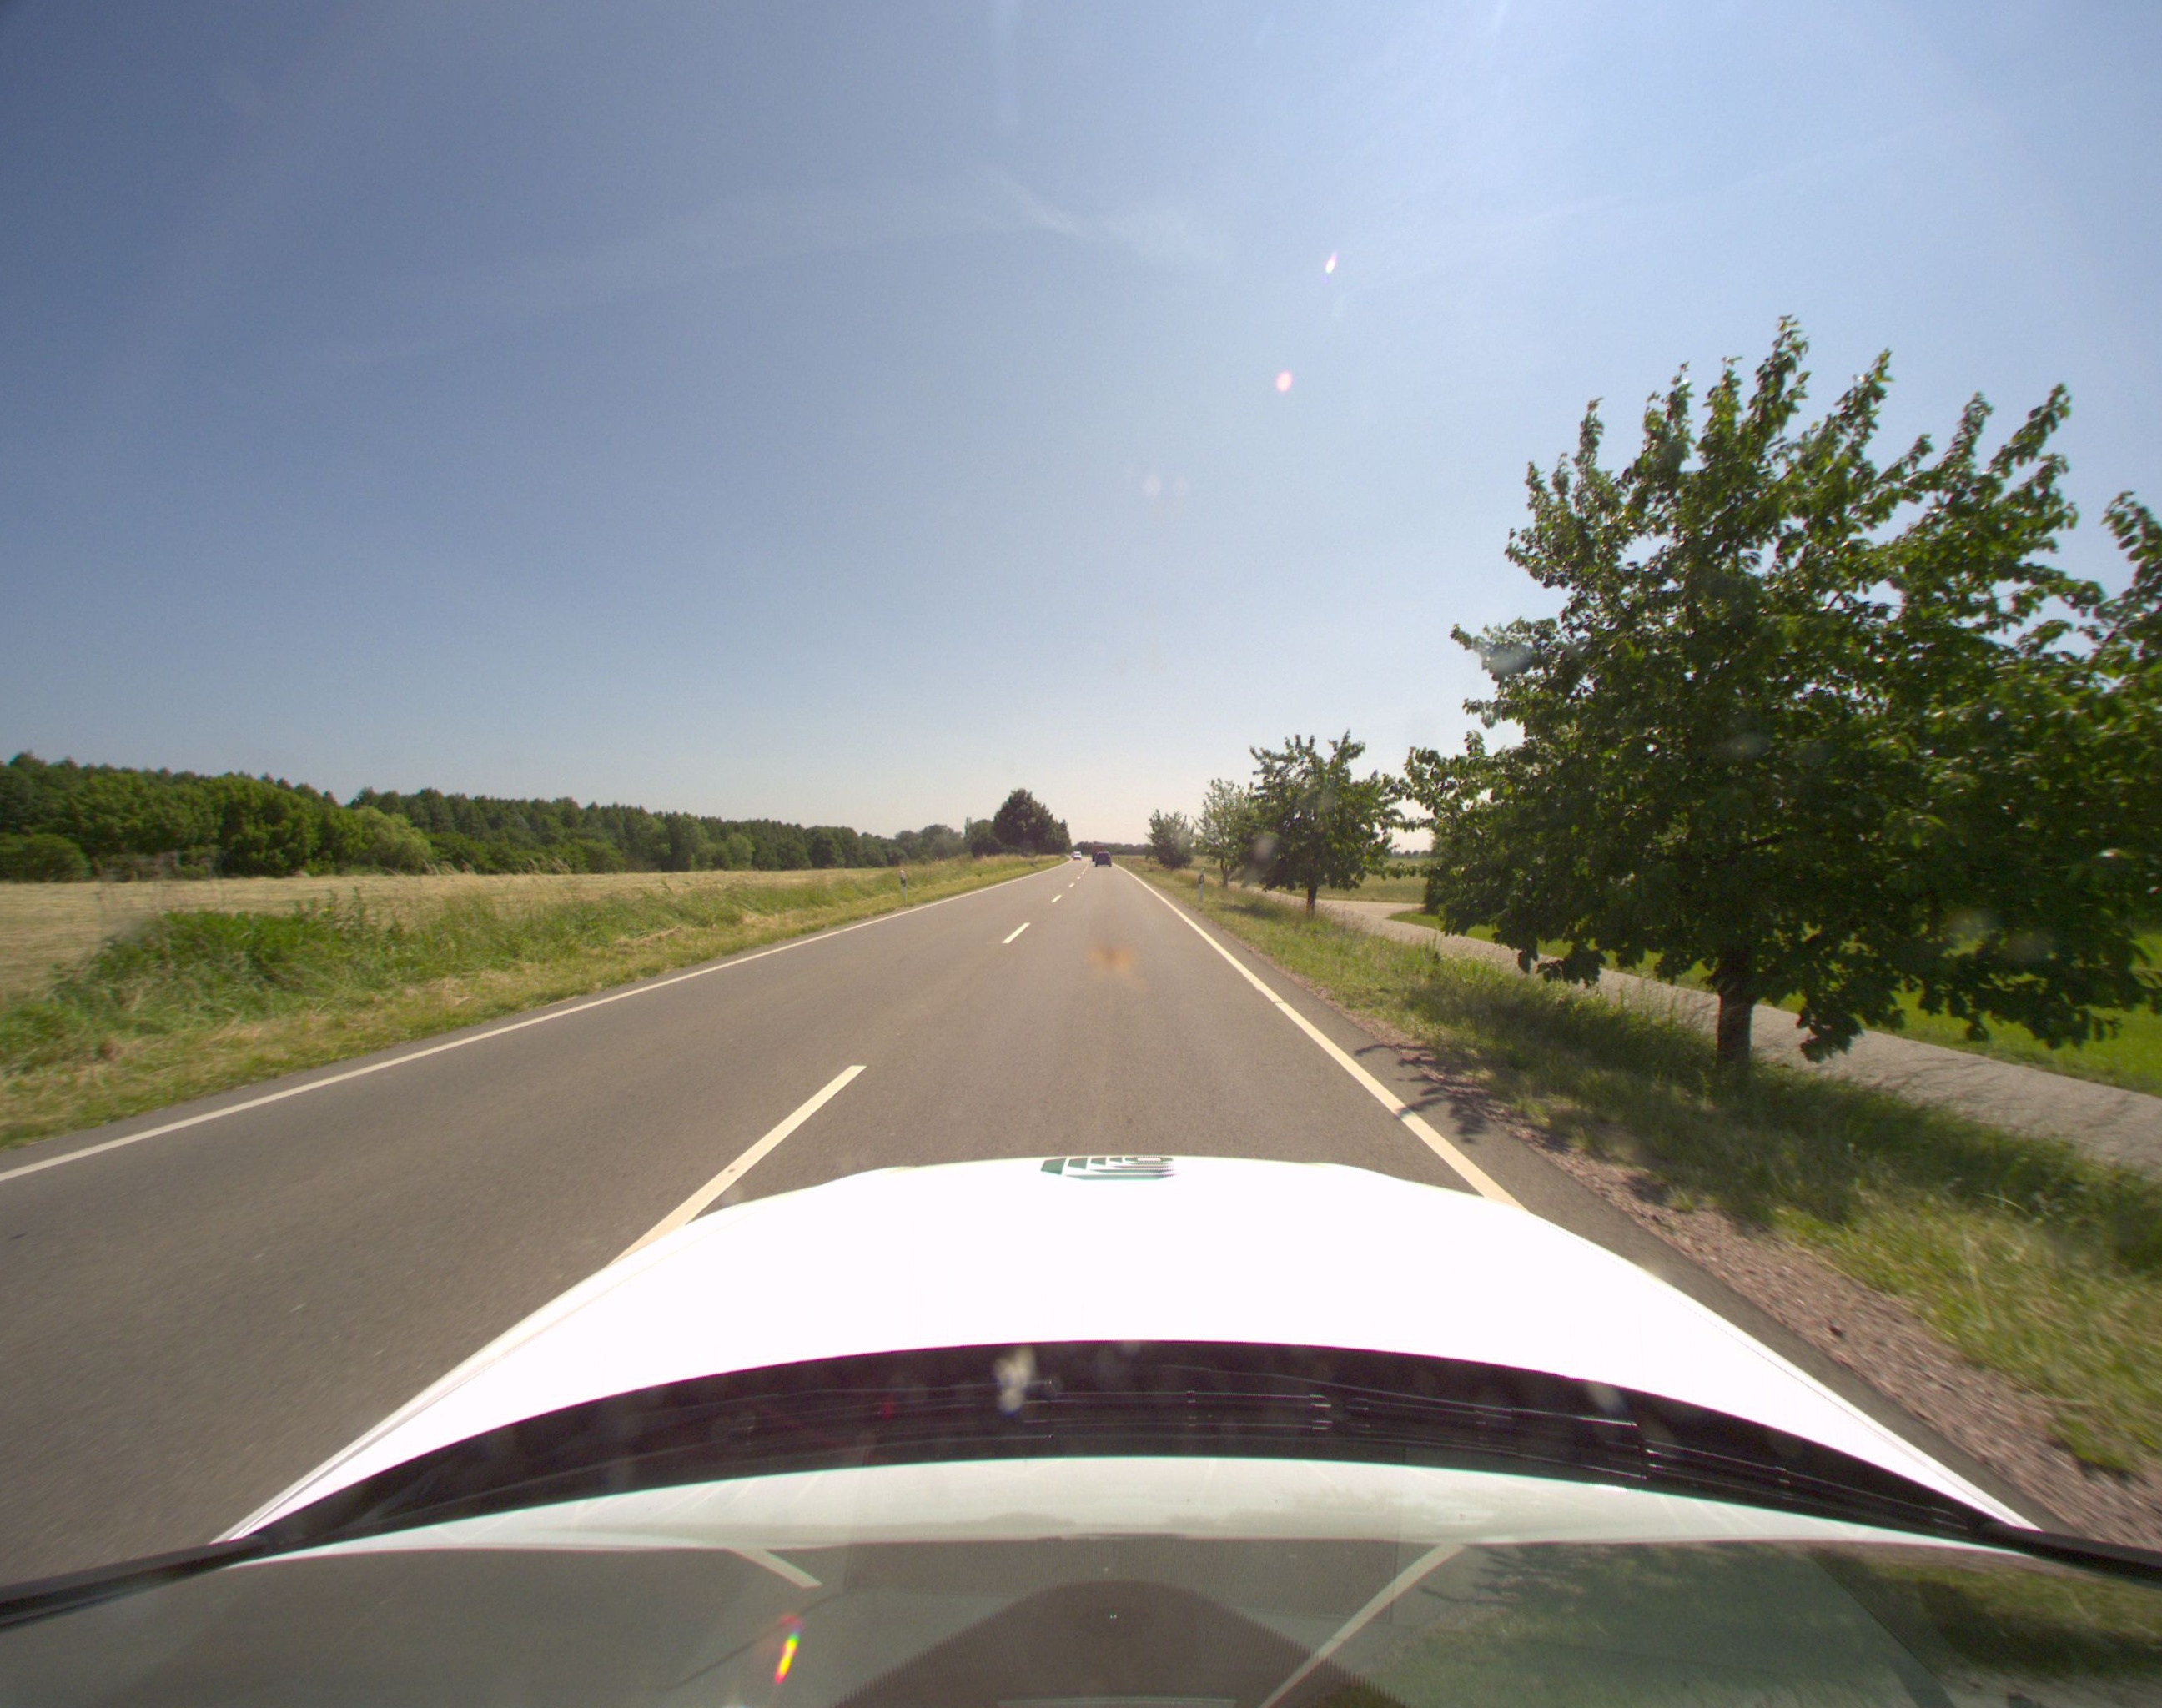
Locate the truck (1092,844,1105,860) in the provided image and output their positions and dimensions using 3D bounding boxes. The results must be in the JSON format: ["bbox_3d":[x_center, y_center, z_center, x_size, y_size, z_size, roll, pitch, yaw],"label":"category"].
[{"bbox_3d":[3.312,-0.347,157.102,2.363,3.140,8.744,0,0,0],"label":"truck"}]

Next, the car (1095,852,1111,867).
[{"bbox_3d":[2.585,0.622,94.618,1.708,1.694,3.991,0,0,3],"label":"car"}]

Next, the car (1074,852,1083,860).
[{"bbox_3d":[-0.554,0.475,180.333,1.780,1.728,4.305,0,0,2],"label":"car"}]
